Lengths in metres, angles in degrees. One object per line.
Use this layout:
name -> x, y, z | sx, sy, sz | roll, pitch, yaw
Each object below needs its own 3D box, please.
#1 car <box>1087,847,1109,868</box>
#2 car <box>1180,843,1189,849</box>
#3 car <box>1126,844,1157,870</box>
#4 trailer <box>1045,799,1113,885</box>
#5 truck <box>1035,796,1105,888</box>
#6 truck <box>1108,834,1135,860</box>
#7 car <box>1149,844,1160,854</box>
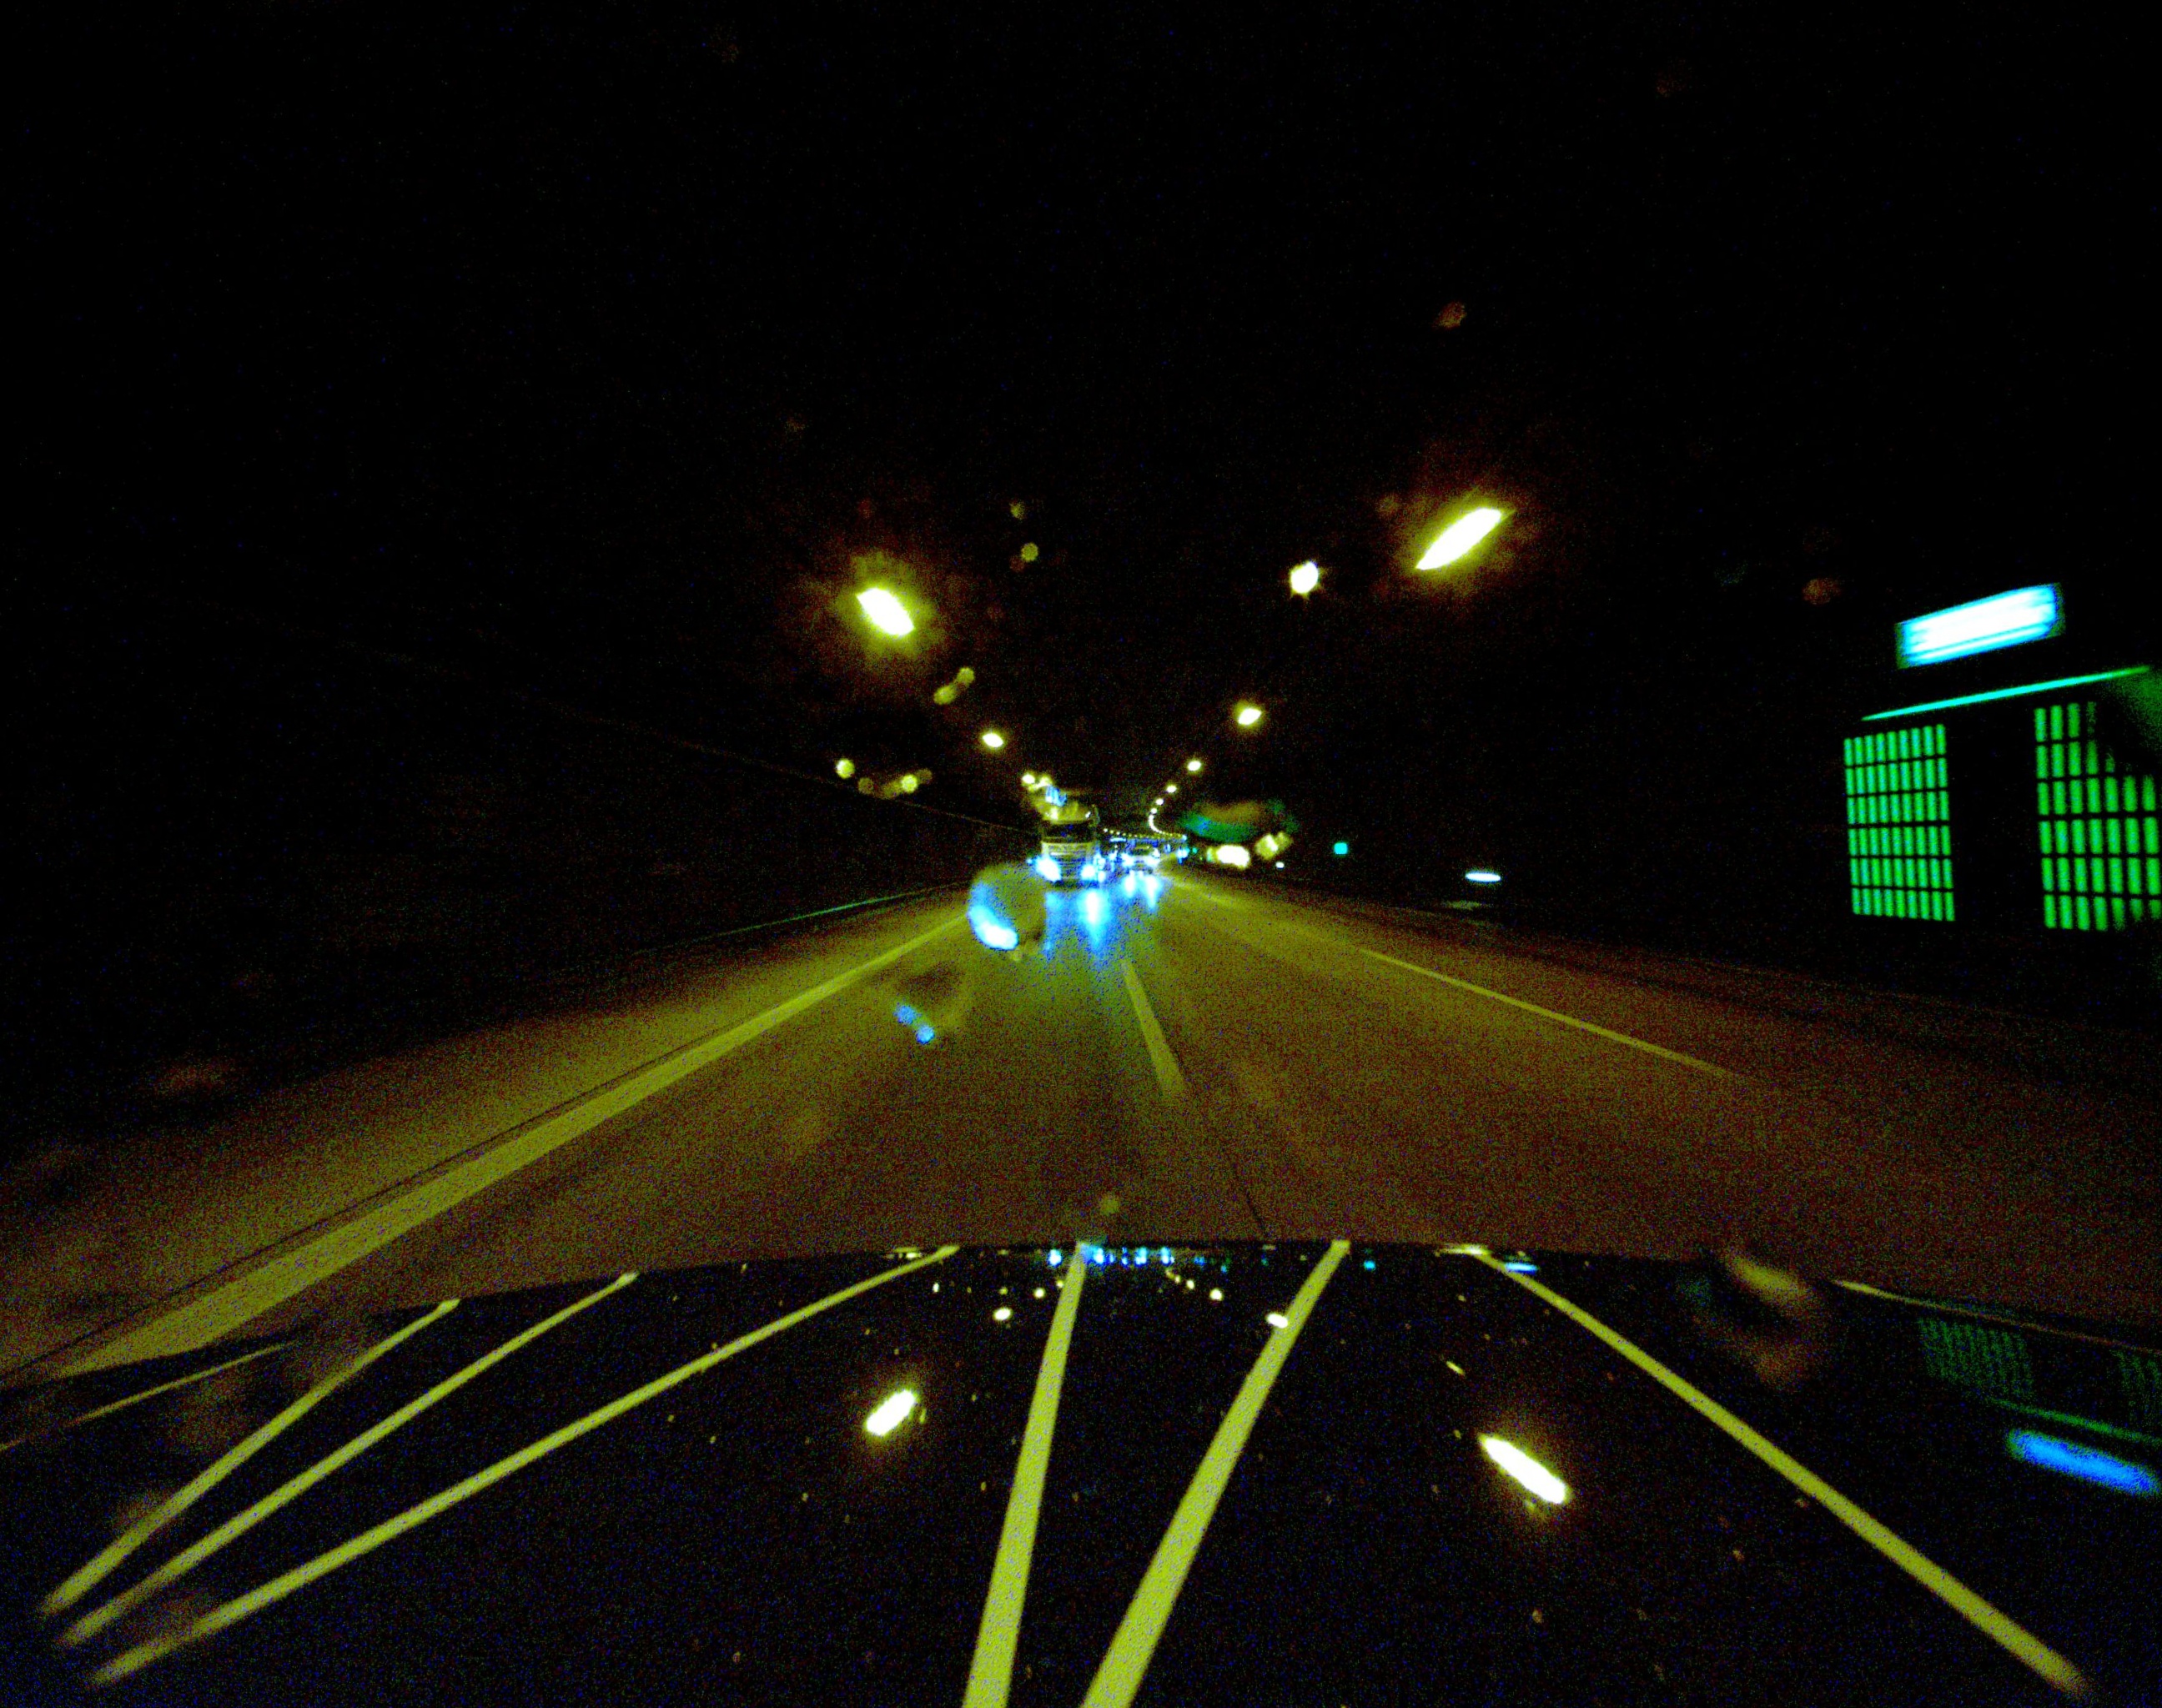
car -> 1.589, 0.330, 70.222 | 1.839, 1.849, 4.288 | 0, 1, 4
car -> 30.336, -2.319, 222.781 | 1.996, 1.788, 4.003 | -2, 1, 14
car -> 4.492, 0.203, 56.751 | 1.998, 1.890, 4.000 | -2, 0, 1
trailer -> 0.187, -0.653, 44.508 | 2.626, 4.139, 14.004 | -3, 0, 5
truck -> -0.426, -0.594, 37.839 | 2.652, 4.139, 6.007 | -2, 1, 6
truck -> 6.437, -1.119, 118.981 | 2.898, 3.820, 9.002 | -2, 1, 10
car -> 13.577, -0.918, 140.429 | 1.997, 1.788, 4.001 | -2, 1, 7
